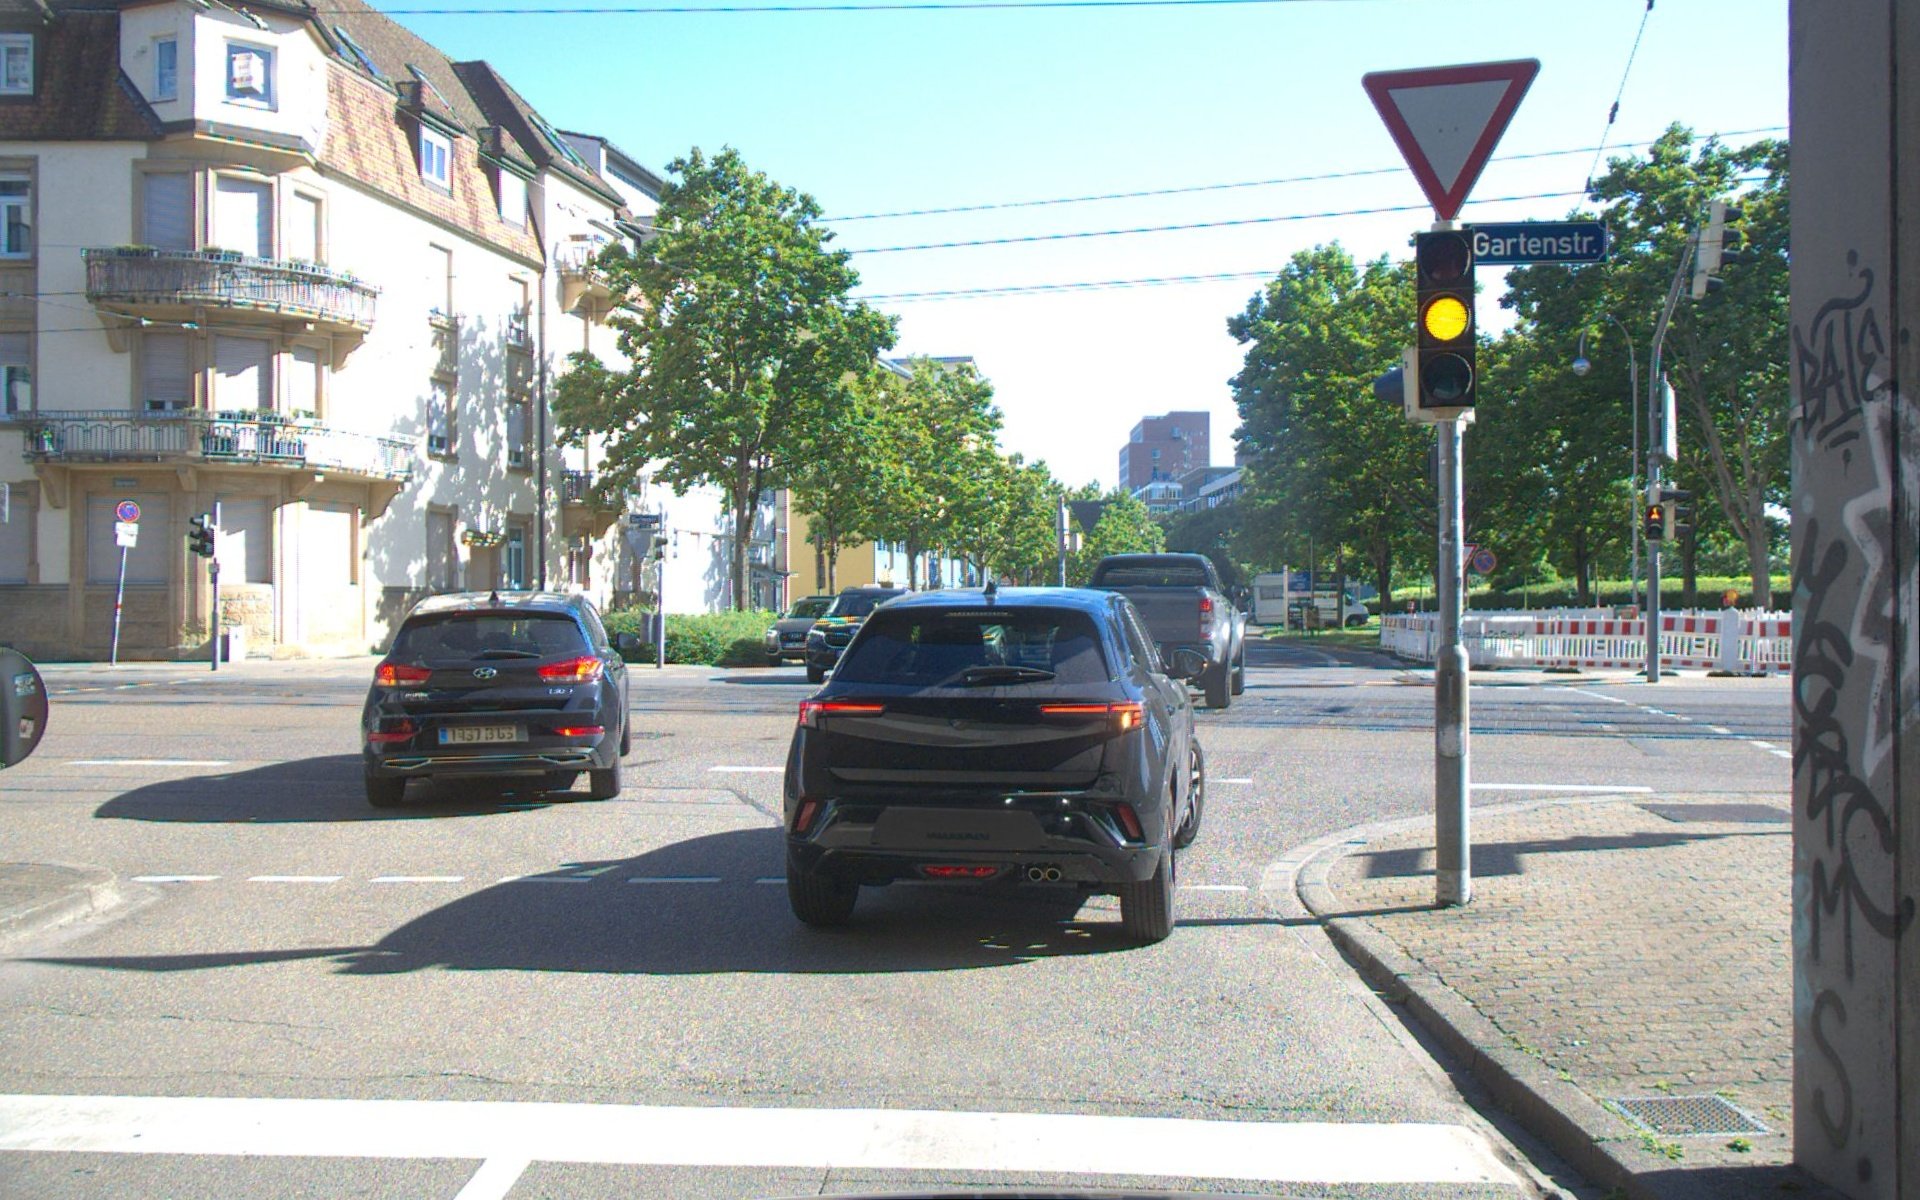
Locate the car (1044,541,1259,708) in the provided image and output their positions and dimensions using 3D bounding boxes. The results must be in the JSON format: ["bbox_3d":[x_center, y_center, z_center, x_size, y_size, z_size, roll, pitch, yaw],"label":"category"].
[{"bbox_3d":[2.578,0.277,21.099,2.087,1.867,4.944,-1,0,14],"label":"car"}]

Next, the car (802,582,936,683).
[{"bbox_3d":[-1.437,0.505,27.617,1.750,1.540,4.118,-1,0,4],"label":"car"}]

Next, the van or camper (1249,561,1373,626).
[{"bbox_3d":[17.840,-0.307,84.436,5.949,2.980,2.577,-3,-1,10],"label":"van or camper"}]

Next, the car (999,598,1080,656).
[{"bbox_3d":[2.336,0.748,47.656,1.668,1.539,3.866,-2,0,12],"label":"car"}]

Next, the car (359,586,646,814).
[{"bbox_3d":[-3.451,0.642,13.192,1.768,1.476,4.316,-1,1,-10],"label":"car"}]

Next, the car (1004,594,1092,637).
[{"bbox_3d":[5.559,0.948,104.162,5.172,2.590,1.978,-1,-1,-15],"label":"car"}]

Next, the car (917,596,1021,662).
[{"bbox_3d":[0.260,0.661,39.361,1.671,1.477,3.854,-1,0,13],"label":"car"}]

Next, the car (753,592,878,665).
[{"bbox_3d":[-3.362,0.637,39.343,1.844,1.638,4.152,0,0,12],"label":"car"}]

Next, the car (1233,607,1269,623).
[{"bbox_3d":[26.616,1.382,151.477,3.175,1.300,1.517,-3,-1,10],"label":"car"}]

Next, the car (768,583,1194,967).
[{"bbox_3d":[0.334,0.705,8.658,1.744,1.544,3.758,0,0,8],"label":"car"}]

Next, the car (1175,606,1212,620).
[{"bbox_3d":[25.692,1.432,182.230,3.865,1.421,1.517,-3,-1,2],"label":"car"}]
